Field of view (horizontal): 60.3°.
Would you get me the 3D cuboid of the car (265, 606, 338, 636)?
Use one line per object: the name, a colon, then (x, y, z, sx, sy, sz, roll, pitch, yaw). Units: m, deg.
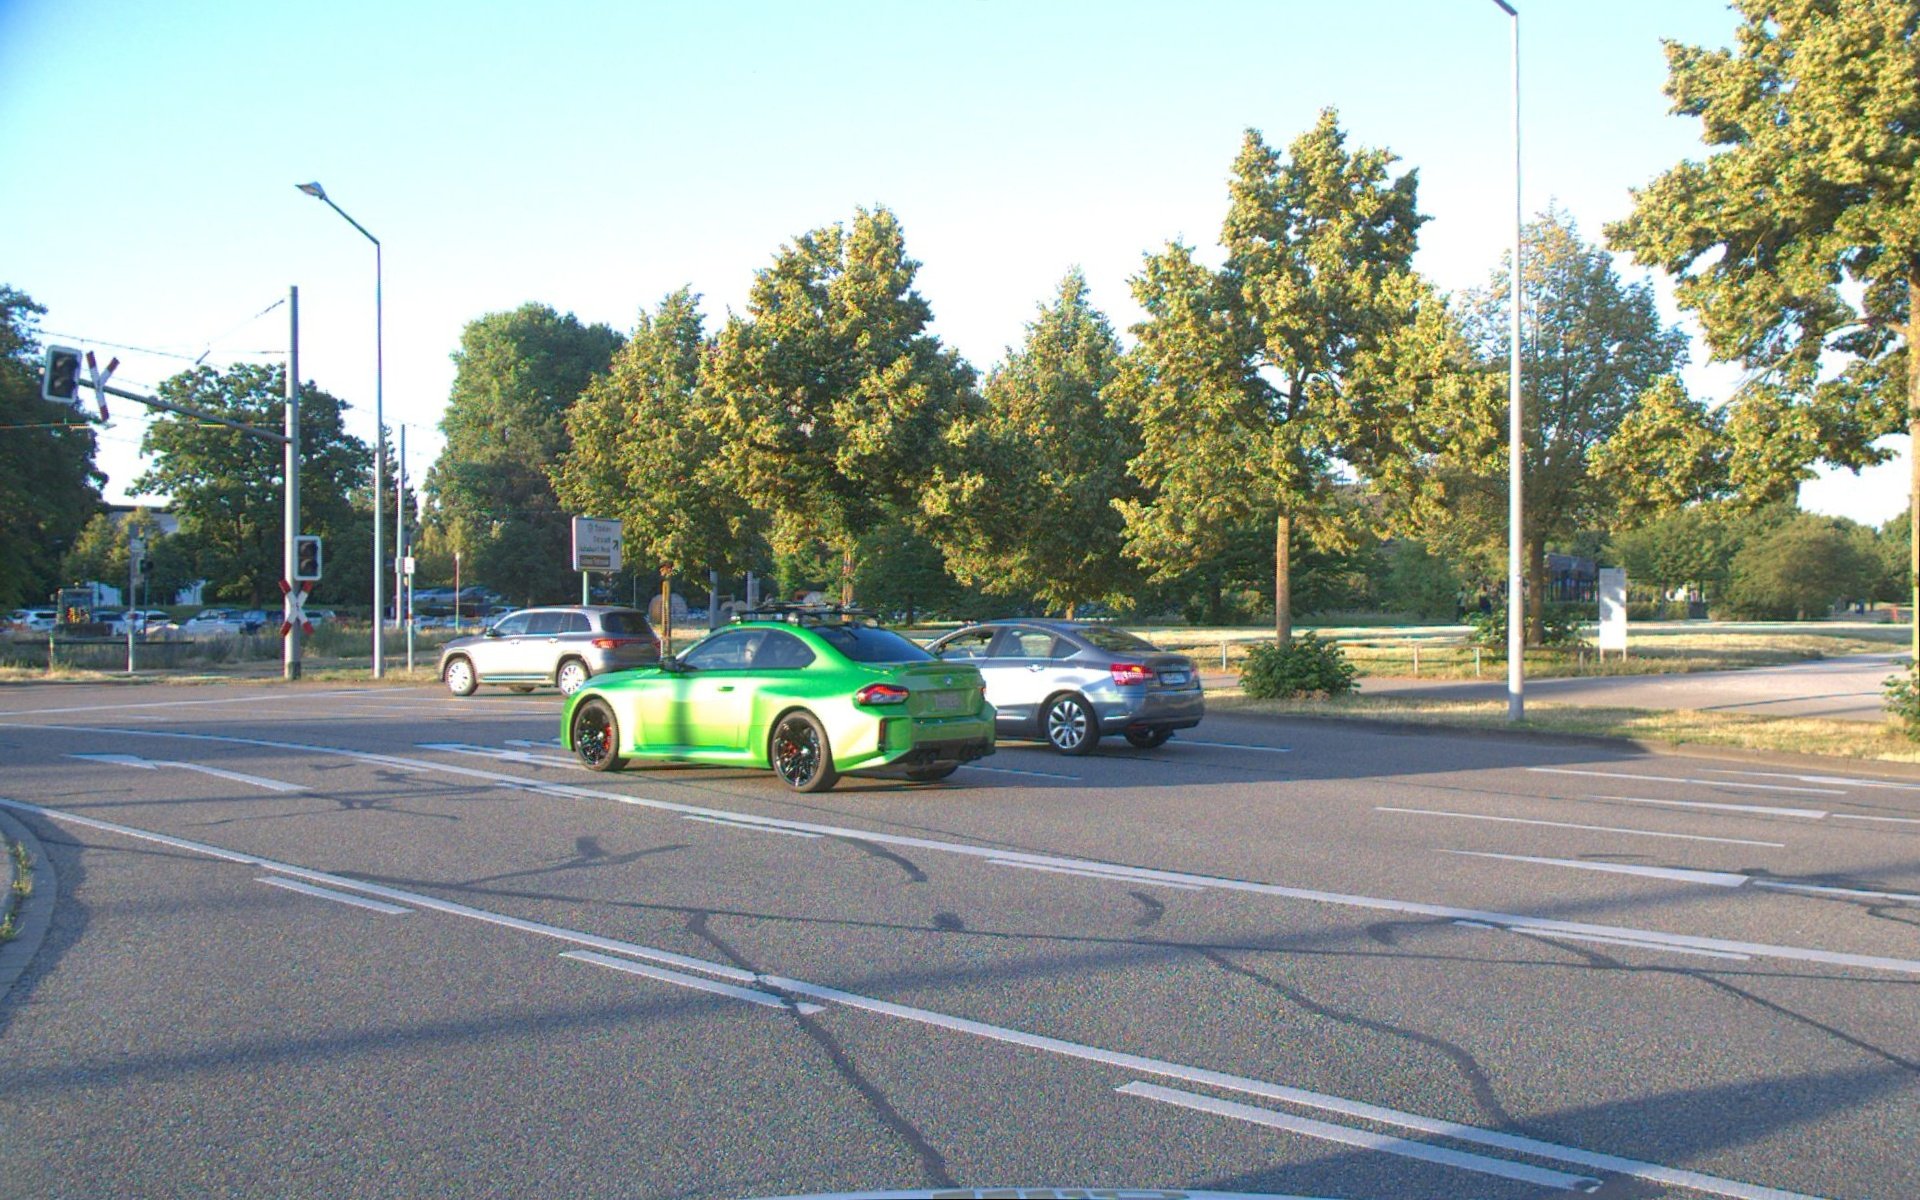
car: (-37.380, 1.177, 93.865, 3.915, 1.632, 1.995, 0, 0, 32)

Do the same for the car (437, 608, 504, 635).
car: (-30.968, 1.335, 104.681, 3.915, 1.632, 1.995, 0, 0, 32)

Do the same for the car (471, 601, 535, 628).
car: (-34.586, 1.098, 125.258, 4.499, 2.049, 1.996, 0, 0, -9)

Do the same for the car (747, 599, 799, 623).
car: (-12.995, 0.774, 114.669, 1.724, 1.646, 3.940, 0, 0, -41)

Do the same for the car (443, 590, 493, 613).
car: (-44.083, 0.127, 148.231, 1.963, 2.049, 3.979, 0, 0, 40)

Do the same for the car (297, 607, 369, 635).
car: (-36.436, 1.203, 96.083, 3.915, 1.632, 1.995, 0, 0, 32)

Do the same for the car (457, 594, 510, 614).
car: (-41.682, 0.312, 144.719, 3.902, 1.736, 2.001, 0, 0, 6)

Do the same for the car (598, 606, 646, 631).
car: (-26.357, 1.408, 128.875, 1.979, 1.782, 4.538, 0, 1, -37)

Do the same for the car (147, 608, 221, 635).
car: (-50.222, 1.381, 107.078, 1.863, 1.691, 3.987, 0, 0, 34)

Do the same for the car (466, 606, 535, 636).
car: (-32.517, 1.454, 117.150, 4.499, 2.049, 1.996, 0, 0, -9)

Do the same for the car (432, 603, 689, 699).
car: (-7.420, 0.896, 30.687, 4.424, 1.666, 1.998, 0, 0, 28)

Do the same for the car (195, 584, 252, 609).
car: (-63.369, -0.310, 142.355, 1.958, 2.049, 4.105, 0, 0, 33)

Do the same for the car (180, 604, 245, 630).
car: (-50.553, 1.121, 111.865, 3.939, 1.691, 1.983, 0, 0, -27)

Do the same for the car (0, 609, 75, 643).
car: (-45.617, 1.247, 81.429, 3.915, 1.632, 1.995, 0, 0, 32)

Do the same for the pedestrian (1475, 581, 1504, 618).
pedestrian: (23.916, -0.037, 74.761, 1.047, 1.646, 0.911, 0, 0, 2)

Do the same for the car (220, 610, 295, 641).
car: (-39.080, 1.405, 92.039, 3.915, 1.632, 1.995, 0, 0, 32)

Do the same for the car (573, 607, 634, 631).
car: (-24.893, 1.335, 115.420, 3.915, 1.632, 1.995, 0, 0, 32)

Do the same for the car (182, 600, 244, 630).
car: (-52.316, 1.051, 115.843, 3.939, 2.049, 1.983, 0, 0, -27)

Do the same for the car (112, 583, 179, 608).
car: (-67.111, -0.399, 136.333, 1.958, 2.049, 4.585, 0, 0, 33)

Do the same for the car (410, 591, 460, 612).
car: (-47.944, 0.131, 151.058, 1.959, 1.847, 3.987, 0, 0, 34)

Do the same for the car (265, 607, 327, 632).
car: (-45.809, 1.332, 114.106, 3.933, 1.691, 1.889, 0, 0, -23)

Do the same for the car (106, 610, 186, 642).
car: (-42.247, 1.324, 85.782, 3.915, 1.632, 1.995, 0, 0, 32)

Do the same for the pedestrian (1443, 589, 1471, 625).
pedestrian: (22.863, 0.320, 76.072, 1.047, 1.646, 0.911, 0, 0, 2)

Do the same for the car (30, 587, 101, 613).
car: (-70.526, -0.011, 130.458, 1.956, 2.049, 4.590, 0, 0, 29)

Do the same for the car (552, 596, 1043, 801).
car: (-1.590, 0.777, 15.229, 4.400, 1.606, 1.990, 0, 0, 39)

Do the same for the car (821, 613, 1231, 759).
car: (0.699, 0.920, 19.441, 4.578, 1.489, 1.879, 0, 0, 37)

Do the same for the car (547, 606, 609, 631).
car: (-26.262, 1.249, 113.670, 3.915, 1.632, 1.995, 0, 0, 32)

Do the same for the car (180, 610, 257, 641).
car: (-40.523, 1.373, 90.372, 3.915, 1.632, 1.995, 0, 0, 32)
